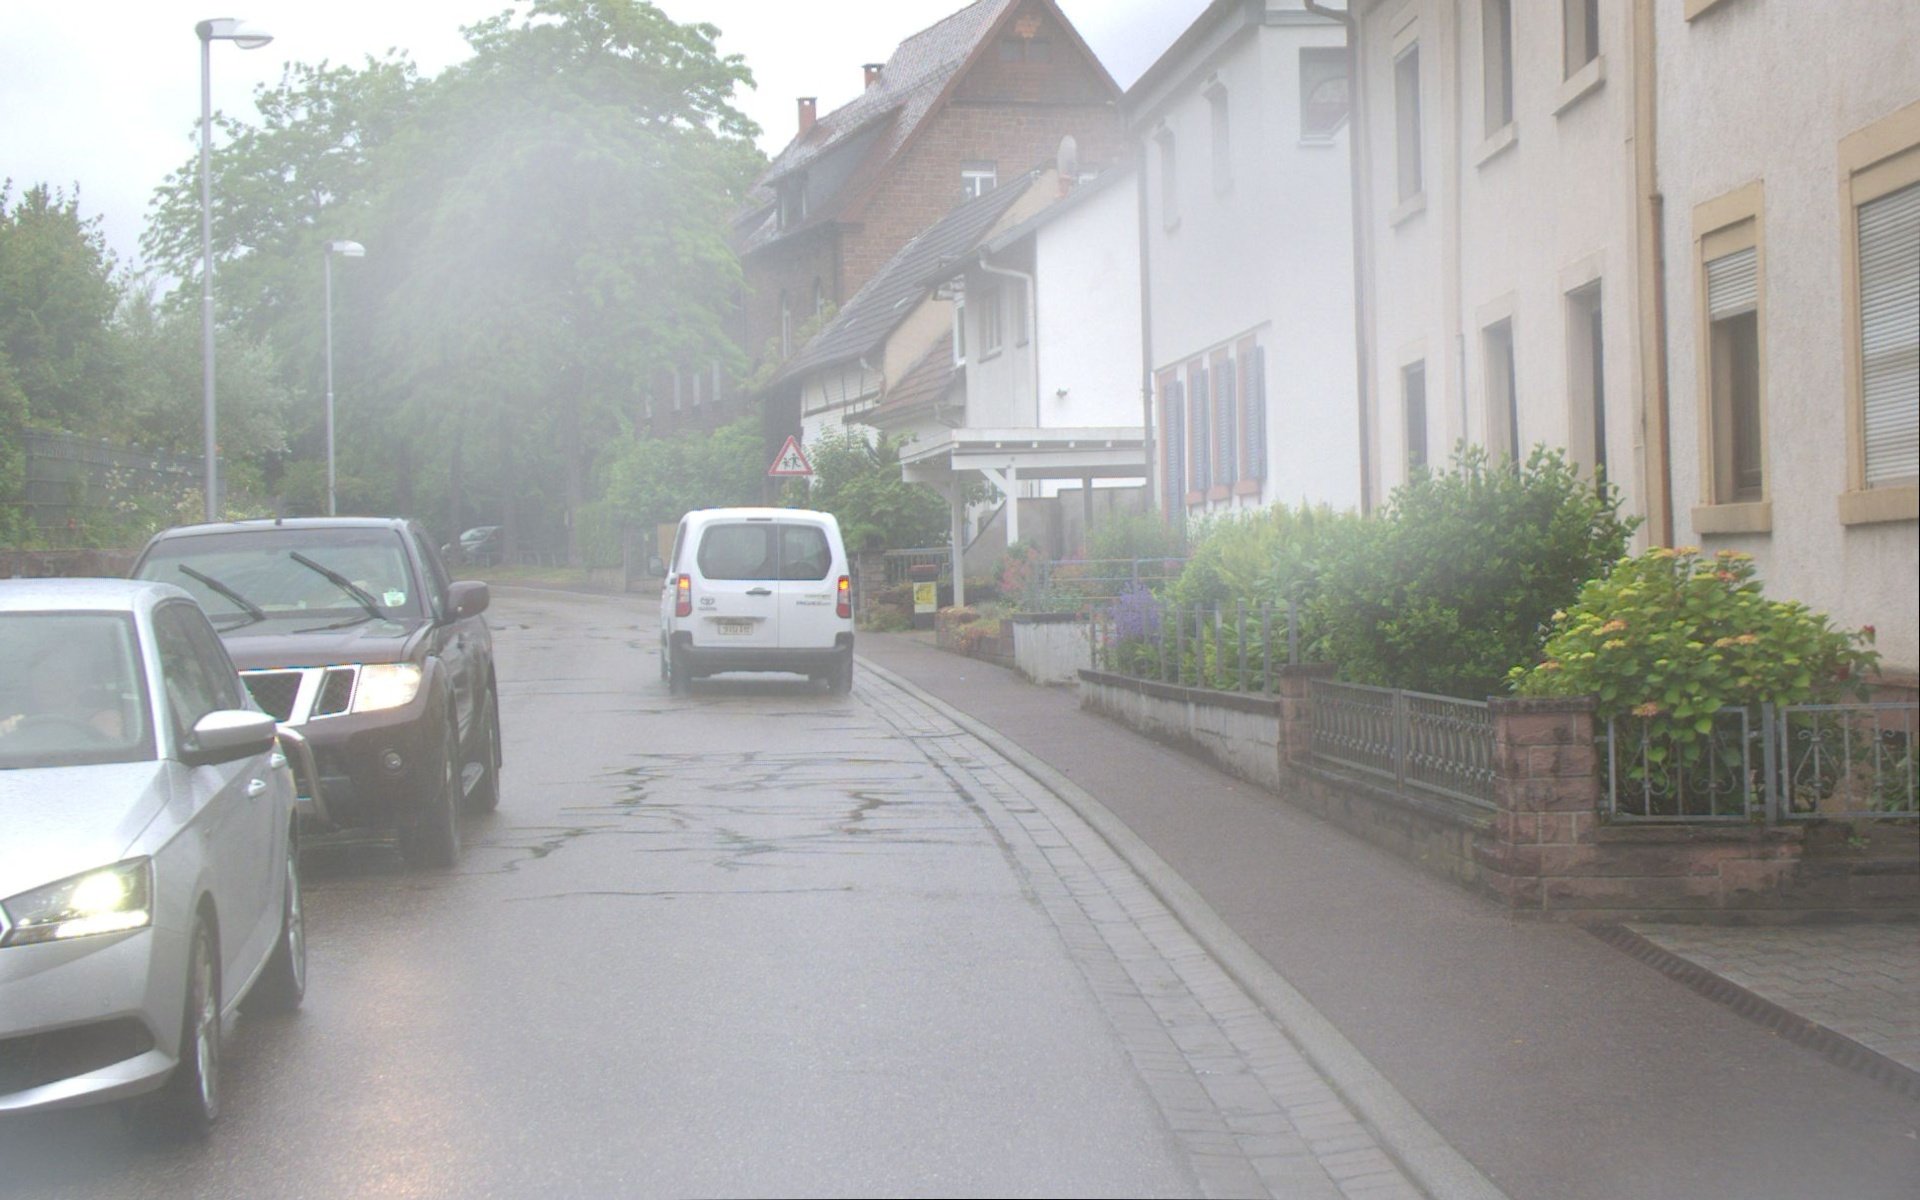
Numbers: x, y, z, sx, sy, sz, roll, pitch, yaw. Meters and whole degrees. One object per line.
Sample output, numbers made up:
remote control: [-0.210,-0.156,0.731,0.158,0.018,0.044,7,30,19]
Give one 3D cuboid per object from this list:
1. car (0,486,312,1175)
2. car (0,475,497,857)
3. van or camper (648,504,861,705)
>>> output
car: [-2.881,0.538,9.754,1.688,1.559,3.935,-3,1,-6]
car: [-3.527,0.263,17.754,1.993,1.672,4.784,-1,1,-5]
van or camper: [-2.000,-0.002,34.569,1.943,1.844,4.000,-2,1,-1]
